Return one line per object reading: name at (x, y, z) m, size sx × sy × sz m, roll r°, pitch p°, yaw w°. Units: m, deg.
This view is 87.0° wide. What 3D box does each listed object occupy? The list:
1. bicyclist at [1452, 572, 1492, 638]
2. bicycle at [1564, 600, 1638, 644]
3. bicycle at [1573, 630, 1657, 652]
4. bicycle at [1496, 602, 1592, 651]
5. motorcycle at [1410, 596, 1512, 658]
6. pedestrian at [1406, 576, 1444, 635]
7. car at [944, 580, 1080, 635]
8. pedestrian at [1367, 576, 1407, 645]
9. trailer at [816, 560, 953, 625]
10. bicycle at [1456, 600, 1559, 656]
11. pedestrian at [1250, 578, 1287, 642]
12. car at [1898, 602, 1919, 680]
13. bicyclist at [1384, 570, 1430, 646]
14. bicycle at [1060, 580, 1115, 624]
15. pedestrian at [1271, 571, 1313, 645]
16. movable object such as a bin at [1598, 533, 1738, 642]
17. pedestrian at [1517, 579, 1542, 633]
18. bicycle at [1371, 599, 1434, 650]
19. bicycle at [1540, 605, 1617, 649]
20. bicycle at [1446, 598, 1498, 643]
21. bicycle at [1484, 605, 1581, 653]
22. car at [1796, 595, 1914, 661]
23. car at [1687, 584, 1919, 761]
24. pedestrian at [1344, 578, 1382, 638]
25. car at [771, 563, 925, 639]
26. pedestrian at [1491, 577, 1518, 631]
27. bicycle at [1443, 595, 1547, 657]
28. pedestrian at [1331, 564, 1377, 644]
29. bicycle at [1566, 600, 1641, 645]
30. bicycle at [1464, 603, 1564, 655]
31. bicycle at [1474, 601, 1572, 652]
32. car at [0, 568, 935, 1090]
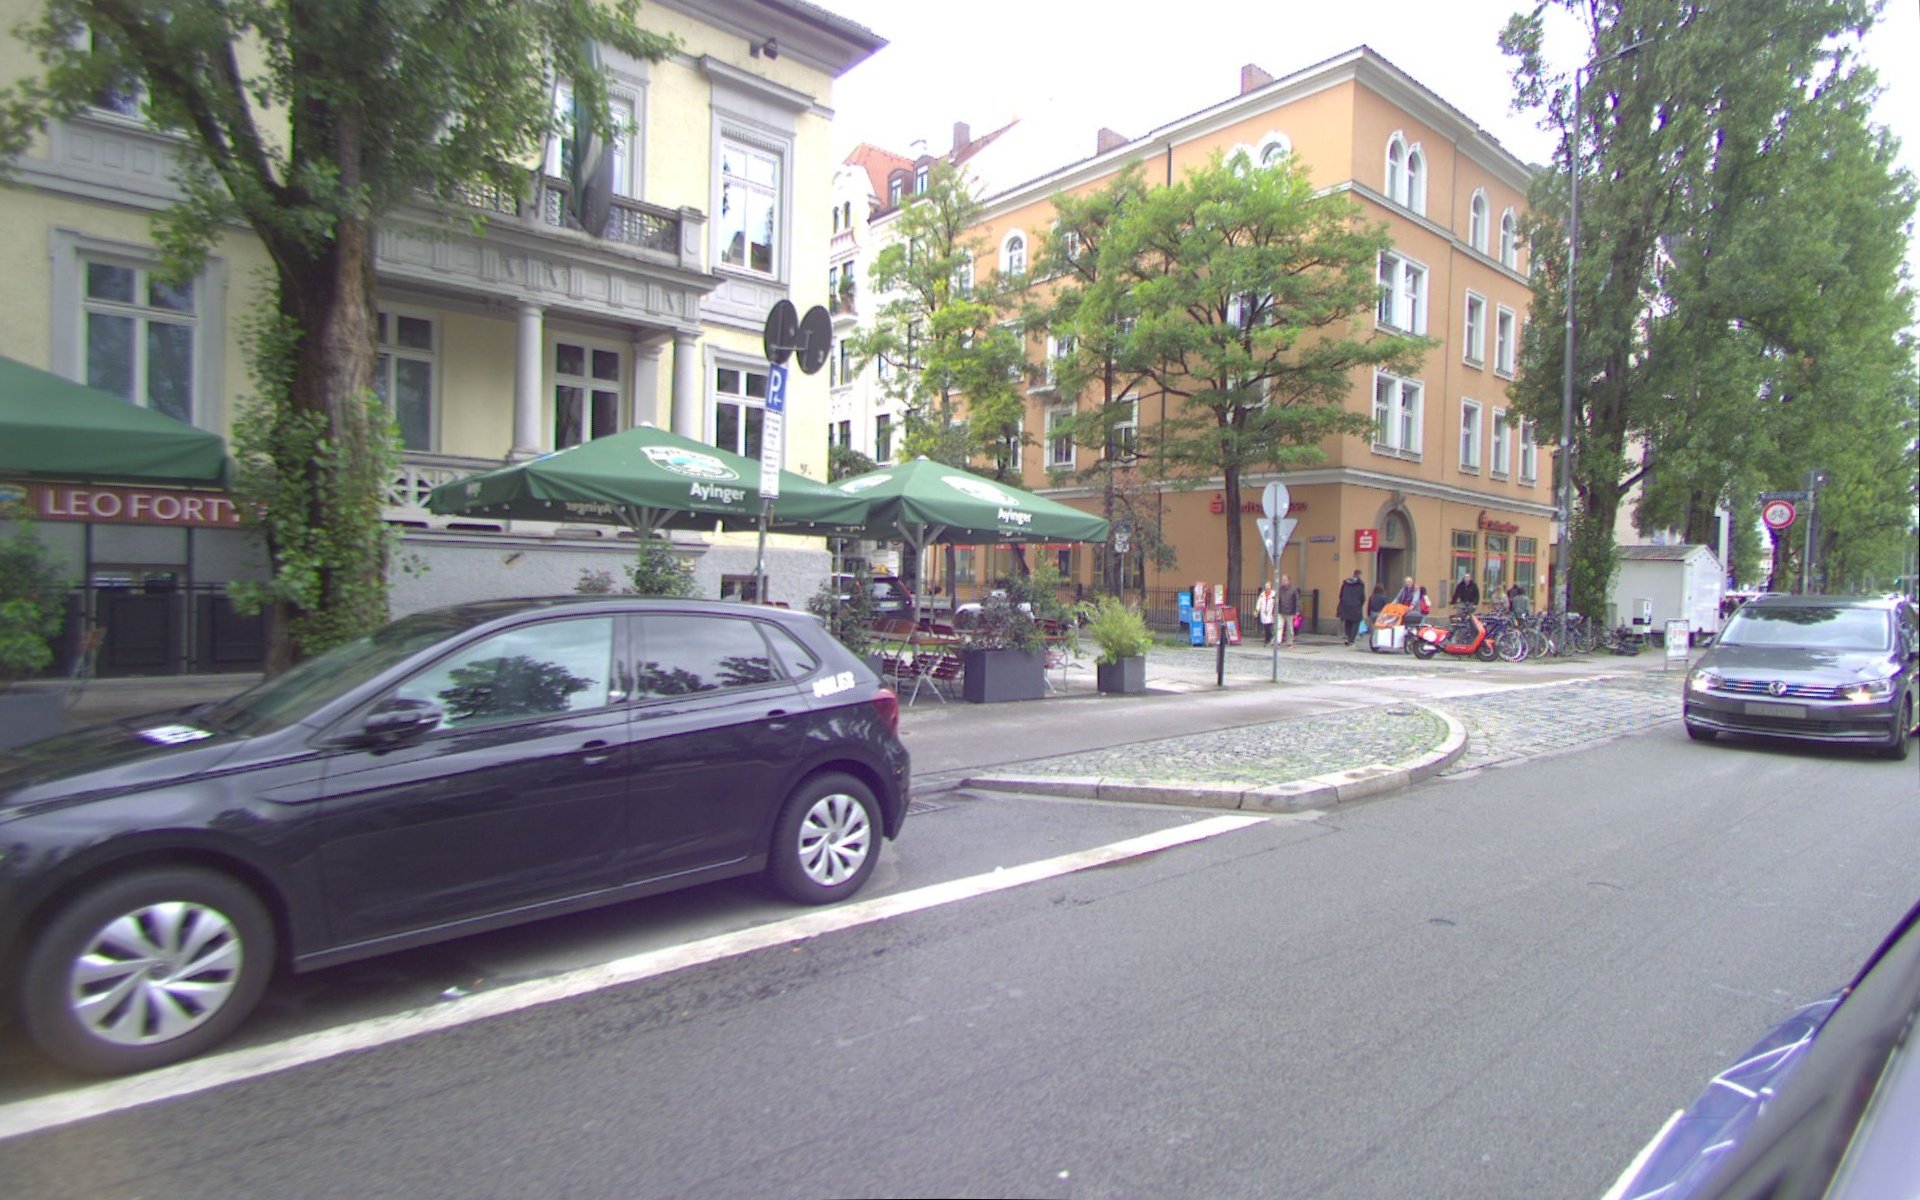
bicyclist at (13.520, 0.124, 26.719) m, size 0.738 × 1.708 × 0.737 m, roll 2°, pitch 1°, yaw 42°
bicycle at (16.819, 0.562, 26.586) m, size 1.593 × 1.098 × 0.319 m, roll 2°, pitch 1°, yaw 28°
bicycle at (16.428, 1.020, 25.401) m, size 1.671 × 0.378 × 0.818 m, roll 4°, pitch 3°, yaw 42°
bicycle at (14.202, 0.623, 24.646) m, size 0.551 × 1.098 × 1.945 m, roll 1°, pitch 1°, yaw -39°
motorcycle at (10.850, 0.567, 21.987) m, size 1.939 × 1.236 × 0.510 m, roll 2°, pitch 1°, yaw 25°
pedestrian at (12.729, 0.144, 27.696) m, size 0.603 × 1.591 × 0.746 m, roll 0°, pitch 0°, yaw -38°
car at (1.503, 0.194, 30.449) m, size 1.873 × 1.539 × 3.993 m, roll 0°, pitch 0°, yaw -41°
pedestrian at (10.655, 0.264, 25.225) m, size 0.742 × 1.682 × 0.760 m, roll 0°, pitch 0°, yaw 39°
trailer at (-2.655, -0.276, 34.491) m, size 1.873 × 2.054 × 5.247 m, roll 1°, pitch 0°, yaw -41°
bicycle at (12.276, 0.613, 22.746) m, size 0.551 × 1.151 × 1.945 m, roll 1°, pitch 1°, yaw -39°
pedestrian at (7.796, 0.250, 25.563) m, size 0.564 × 1.591 × 0.699 m, roll 0°, pitch 0°, yaw -38°
car at (19.651, 0.774, 19.741) m, size 3.934 × 1.451 × 1.615 m, roll 0°, pitch 0°, yaw -42°
bicyclist at (10.711, 0.171, 24.245) m, size 0.827 × 1.779 × 0.658 m, roll 2°, pitch 1°, yaw 38°
bicycle at (4.158, 0.062, 33.129) m, size 0.551 × 1.389 × 1.945 m, roll 1°, pitch 0°, yaw -39°
pedestrian at (8.133, 0.183, 24.817) m, size 0.718 × 1.788 × 0.699 m, roll 0°, pitch 0°, yaw -38°
movable object such as a bin at (22.330, -0.411, 31.877) m, size 4.463 × 3.175 × 2.445 m, roll 1°, pitch 2°, yaw -41°
pedestrian at (18.128, 0.184, 32.214) m, size 0.617 × 1.715 × 0.566 m, roll 0°, pitch 0°, yaw 41°
bicycle at (10.542, 0.560, 24.048) m, size 0.883 × 1.134 × 2.073 m, roll 2°, pitch 1°, yaw 38°
bicycle at (15.441, 0.660, 25.307) m, size 1.597 × 1.022 × 0.337 m, roll 2°, pitch 1°, yaw 43°
bicycle at (13.570, 0.524, 26.804) m, size 0.735 × 1.134 × 2.071 m, roll 2°, pitch 1°, yaw 41°
bicycle at (13.647, 0.672, 24.163) m, size 0.551 × 1.022 × 1.945 m, roll 1°, pitch 1°, yaw -39°
car at (23.322, 0.669, 26.330) m, size 4.421 × 1.572 × 1.787 m, roll 0°, pitch 0°, yaw -42°
car at (9.769, 0.663, 11.259) m, size 4.120 × 1.611 × 1.880 m, roll 0°, pitch 0°, yaw -42°
pedestrian at (11.049, 0.211, 27.740) m, size 0.651 × 1.591 × 0.746 m, roll 0°, pitch 0°, yaw -38°
car at (-2.909, 0.006, 25.364) m, size 1.934 × 1.724 × 4.429 m, roll 0°, pitch 0°, yaw -36°
pedestrian at (17.510, 0.110, 32.533) m, size 0.632 × 1.715 × 0.566 m, roll 0°, pitch 0°, yaw 43°
bicycle at (11.781, 0.556, 22.354) m, size 0.551 × 1.255 × 1.945 m, roll 1°, pitch 1°, yaw -39°
pedestrian at (9.953, 0.084, 25.570) m, size 0.788 × 1.973 × 0.838 m, roll 0°, pitch 0°, yaw -44°
bicycle at (16.678, 0.575, 26.251) m, size 1.588 × 1.098 × 0.339 m, roll 2°, pitch 1°, yaw 28°
bicycle at (12.691, 0.642, 23.244) m, size 0.551 × 1.102 × 1.945 m, roll 1°, pitch 1°, yaw -39°
bicycle at (13.197, 0.600, 23.777) m, size 0.551 × 1.089 × 1.945 m, roll 1°, pitch 1°, yaw -39°
car at (-2.129, 0.618, 4.418) m, size 3.884 × 1.434 × 1.696 m, roll 0°, pitch 1°, yaw -43°
